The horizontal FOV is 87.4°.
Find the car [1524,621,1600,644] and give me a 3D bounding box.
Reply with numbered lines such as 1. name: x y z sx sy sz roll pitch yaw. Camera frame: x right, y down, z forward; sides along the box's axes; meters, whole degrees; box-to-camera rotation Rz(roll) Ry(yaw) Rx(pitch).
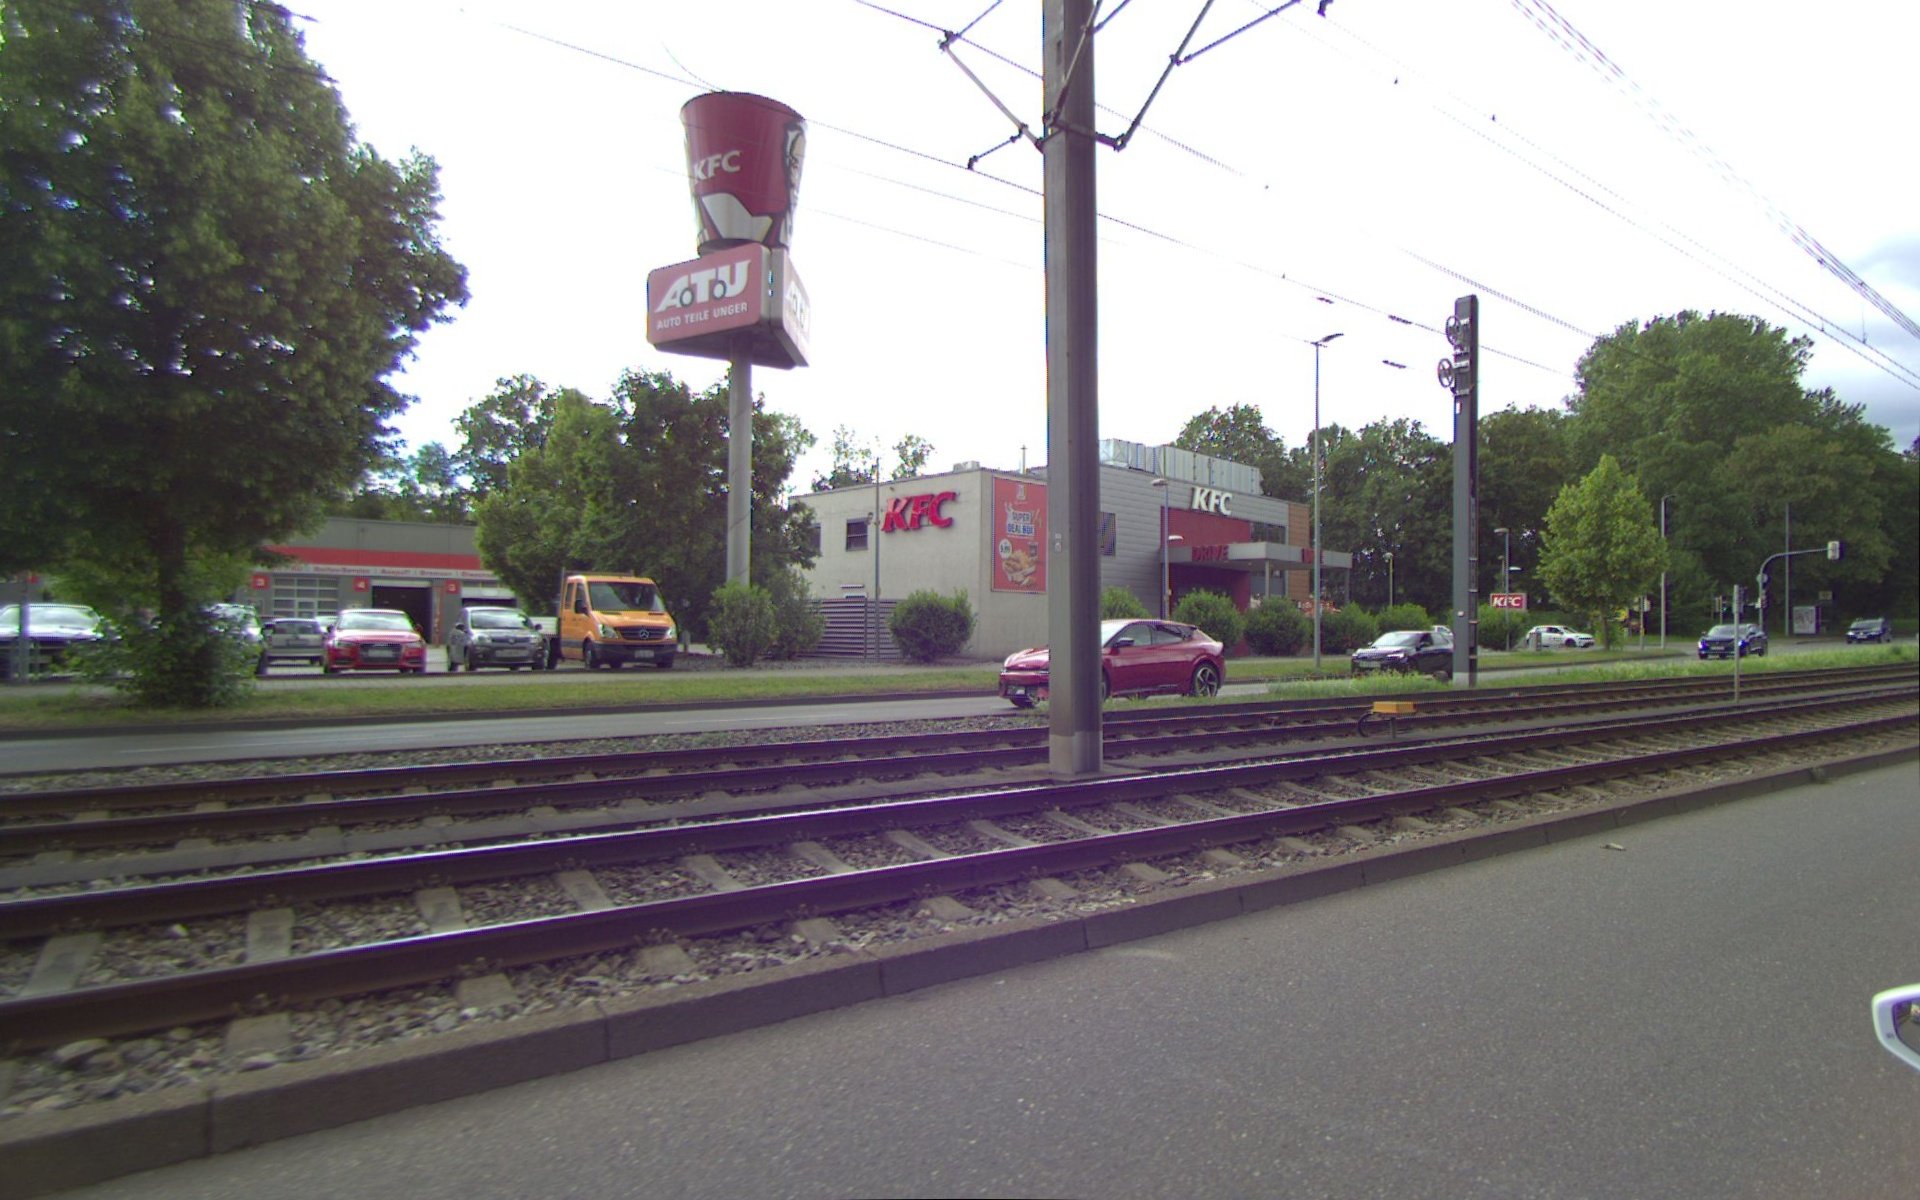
1. car: 38.636 2.077 64.530 1.829 1.426 3.853 1 -2 -36

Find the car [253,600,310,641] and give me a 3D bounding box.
1. car: -29.914 0.886 44.341 1.980 1.614 3.961 1 1 -34

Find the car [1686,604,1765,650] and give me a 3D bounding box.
1. car: 35.783 1.261 46.908 4.210 2.040 1.978 1 -2 -39

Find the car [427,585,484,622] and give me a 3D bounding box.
1. car: -24.655 0.143 49.015 1.903 1.644 3.702 1 1 -36

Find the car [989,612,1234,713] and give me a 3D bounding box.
1. car: 2.788 1.070 17.979 4.442 1.602 1.770 2 -3 -38

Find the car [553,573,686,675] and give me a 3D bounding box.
1. car: -8.285 0.501 24.229 2.038 2.194 3.961 1 1 -34

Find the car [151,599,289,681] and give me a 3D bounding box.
1. car: -14.986 0.756 20.531 2.072 1.385 3.961 1 1 -34

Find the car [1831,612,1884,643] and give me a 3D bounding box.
1. car: 59.615 1.822 66.682 4.071 2.040 1.978 1 -2 -39

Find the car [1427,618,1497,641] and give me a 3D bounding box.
1. car: 34.807 2.057 69.693 1.829 1.572 3.960 1 -2 -36

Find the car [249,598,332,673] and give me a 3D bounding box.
1. car: -20.466 1.030 30.643 1.933 2.041 3.702 1 1 -36

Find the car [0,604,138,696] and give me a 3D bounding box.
1. car: -17.004 0.856 18.732 2.173 1.372 4.345 1 1 -34

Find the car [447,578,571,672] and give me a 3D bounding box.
1. car: -10.660 0.519 23.598 1.980 1.944 3.961 1 1 -34

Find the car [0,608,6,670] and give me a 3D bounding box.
1. car: -25.811 1.002 25.492 1.808 1.670 3.703 1 -2 -36

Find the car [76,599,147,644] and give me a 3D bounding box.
1. car: -34.637 0.840 41.074 1.903 1.644 3.702 1 1 -36

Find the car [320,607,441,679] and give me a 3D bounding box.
1. car: -12.602 0.867 21.715 1.980 1.253 3.961 1 1 -34

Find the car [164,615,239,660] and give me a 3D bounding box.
1. car: -25.531 1.258 33.911 1.933 1.407 3.703 1 -2 -36

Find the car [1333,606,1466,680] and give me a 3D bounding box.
1. car: 12.968 1.223 29.557 3.965 2.040 1.978 1 -2 -39
